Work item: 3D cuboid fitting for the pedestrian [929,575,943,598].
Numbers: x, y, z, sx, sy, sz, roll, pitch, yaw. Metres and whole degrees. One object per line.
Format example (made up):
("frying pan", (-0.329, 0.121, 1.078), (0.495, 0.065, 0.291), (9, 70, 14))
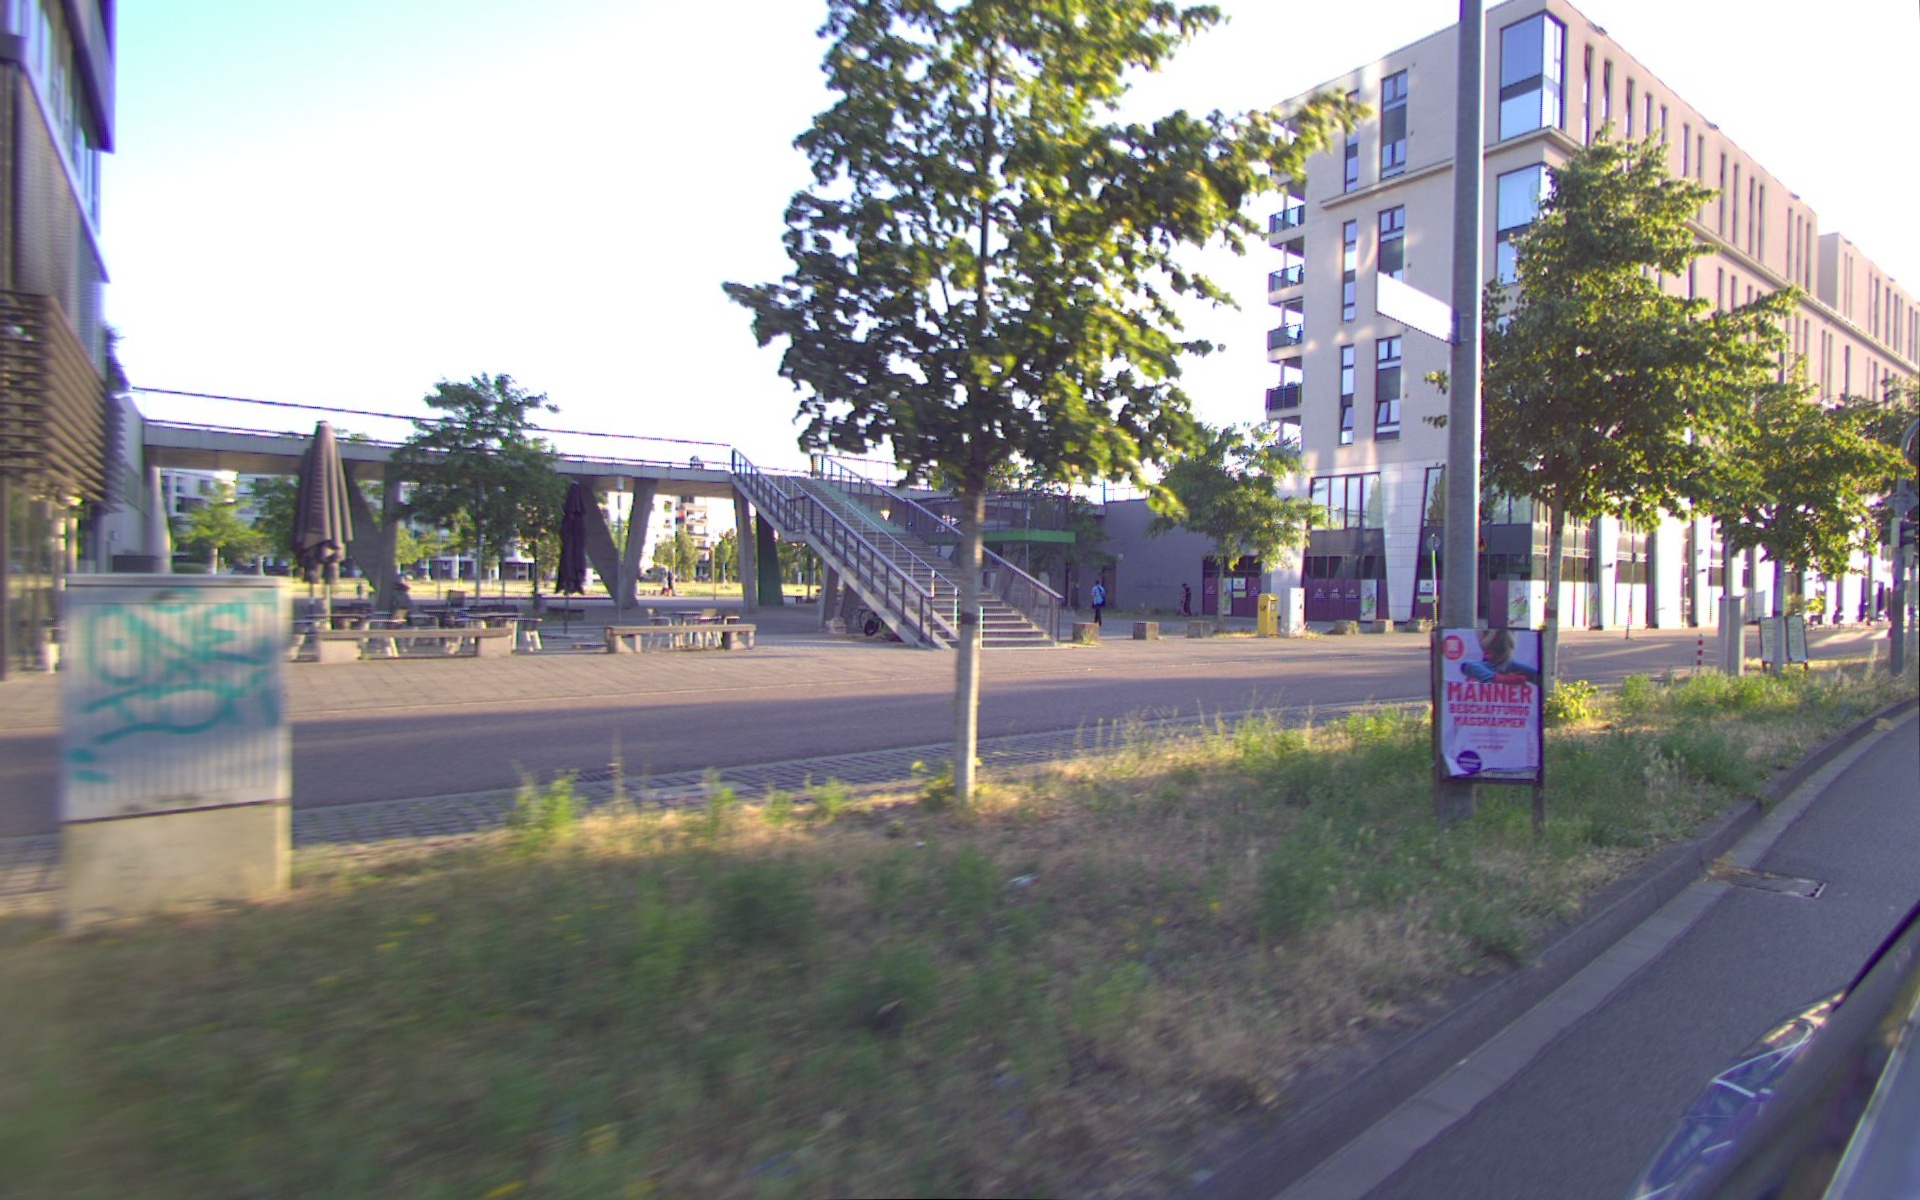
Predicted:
("pedestrian", (-1.685, -0.988, 72.008), (0.711, 1.614, 0.790), (1, 1, 28))

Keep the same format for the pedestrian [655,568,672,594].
("pedestrian", (-23.575, -1.507, 80.547), (0.996, 2.039, 1.144), (1, 1, -34))

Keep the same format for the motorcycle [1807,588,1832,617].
("motorcycle", (51.759, 0.136, 60.951), (2.084, 1.720, 0.690), (0, 1, -38))

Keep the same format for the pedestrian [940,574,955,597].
("pedestrian", (-0.860, -0.994, 71.142), (0.782, 1.614, 0.718), (1, 1, -31))

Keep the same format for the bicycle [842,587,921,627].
("bicycle", (-2.510, 0.223, 32.513), (2.399, 1.252, 0.734), (0, 1, -26))

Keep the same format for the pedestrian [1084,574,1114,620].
("pedestrian", (5.719, -0.112, 41.726), (0.824, 1.867, 0.897), (0, 1, -43))

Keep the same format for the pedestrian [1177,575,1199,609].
("pedestrian", (11.401, -0.411, 50.568), (0.750, 1.703, 0.767), (1, 1, -35))

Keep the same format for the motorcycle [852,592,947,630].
("motorcycle", (-1.724, 0.307, 29.038), (2.636, 1.056, 0.734), (0, 1, -26))
